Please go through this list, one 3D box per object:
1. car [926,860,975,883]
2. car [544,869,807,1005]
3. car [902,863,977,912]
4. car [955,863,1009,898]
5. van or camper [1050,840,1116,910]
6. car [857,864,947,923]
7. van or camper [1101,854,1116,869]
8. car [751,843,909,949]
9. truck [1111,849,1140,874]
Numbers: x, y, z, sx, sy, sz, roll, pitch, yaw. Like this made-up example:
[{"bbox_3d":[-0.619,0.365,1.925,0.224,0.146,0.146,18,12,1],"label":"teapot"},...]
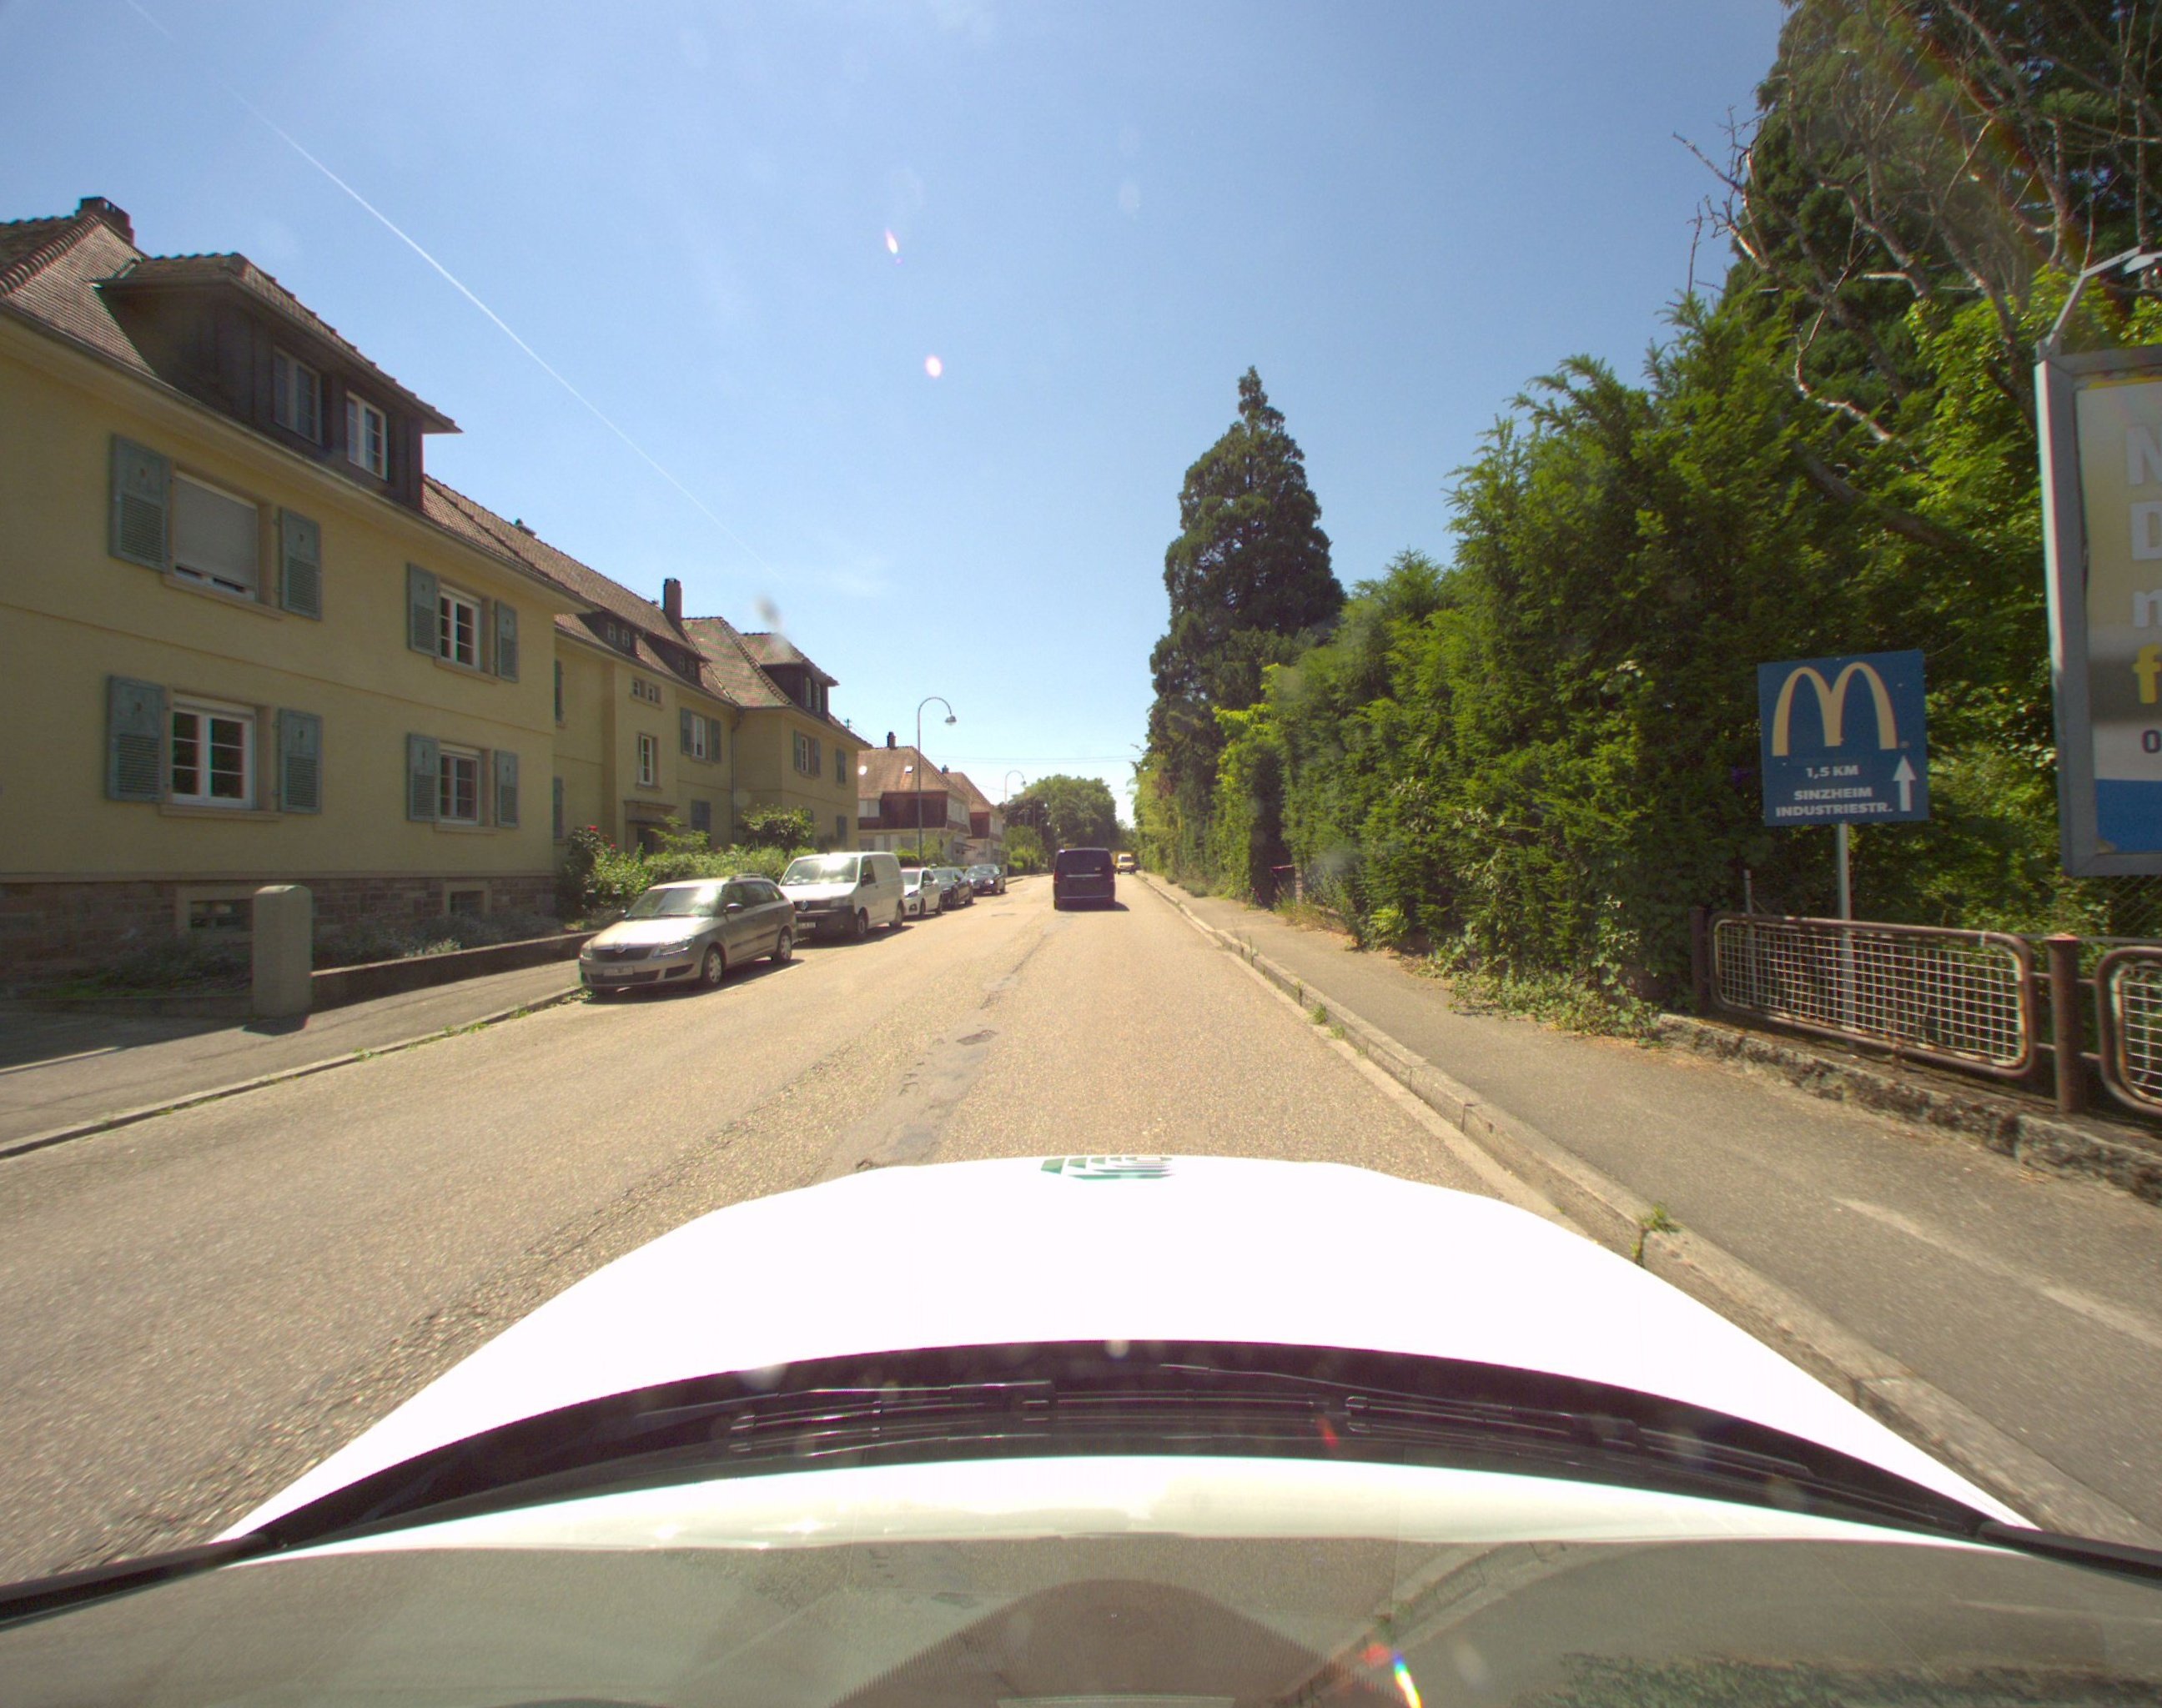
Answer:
[{"bbox_3d":[-11.394,1.515,71.334,3.853,1.905,1.880,-2,-1,1],"label":"car"},{"bbox_3d":[-5.733,1.075,12.170,1.680,1.525,4.064,-4,0,2],"label":"car"},{"bbox_3d":[-4.843,1.102,28.458,1.659,1.493,4.468,-1,0,2],"label":"car"},{"bbox_3d":[-4.490,1.178,37.650,1.659,1.386,4.383,-3,0,3],"label":"car"},{"bbox_3d":[0.161,0.635,26.257,1.895,2.014,5.273,-1,-1,2],"label":"van or camper"},{"bbox_3d":[-5.158,1.089,23.883,1.659,1.492,3.480,-3,0,2],"label":"car"},{"bbox_3d":[3.990,1.044,116.670,1.985,2.014,4.003,-2,-1,3],"label":"van or camper"},{"bbox_3d":[-5.422,0.840,18.316,1.871,1.963,4.627,-4,0,2],"label":"car"},{"bbox_3d":[4.392,0.771,80.707,2.349,2.258,6.088,-2,-1,-1],"label":"truck"}]
